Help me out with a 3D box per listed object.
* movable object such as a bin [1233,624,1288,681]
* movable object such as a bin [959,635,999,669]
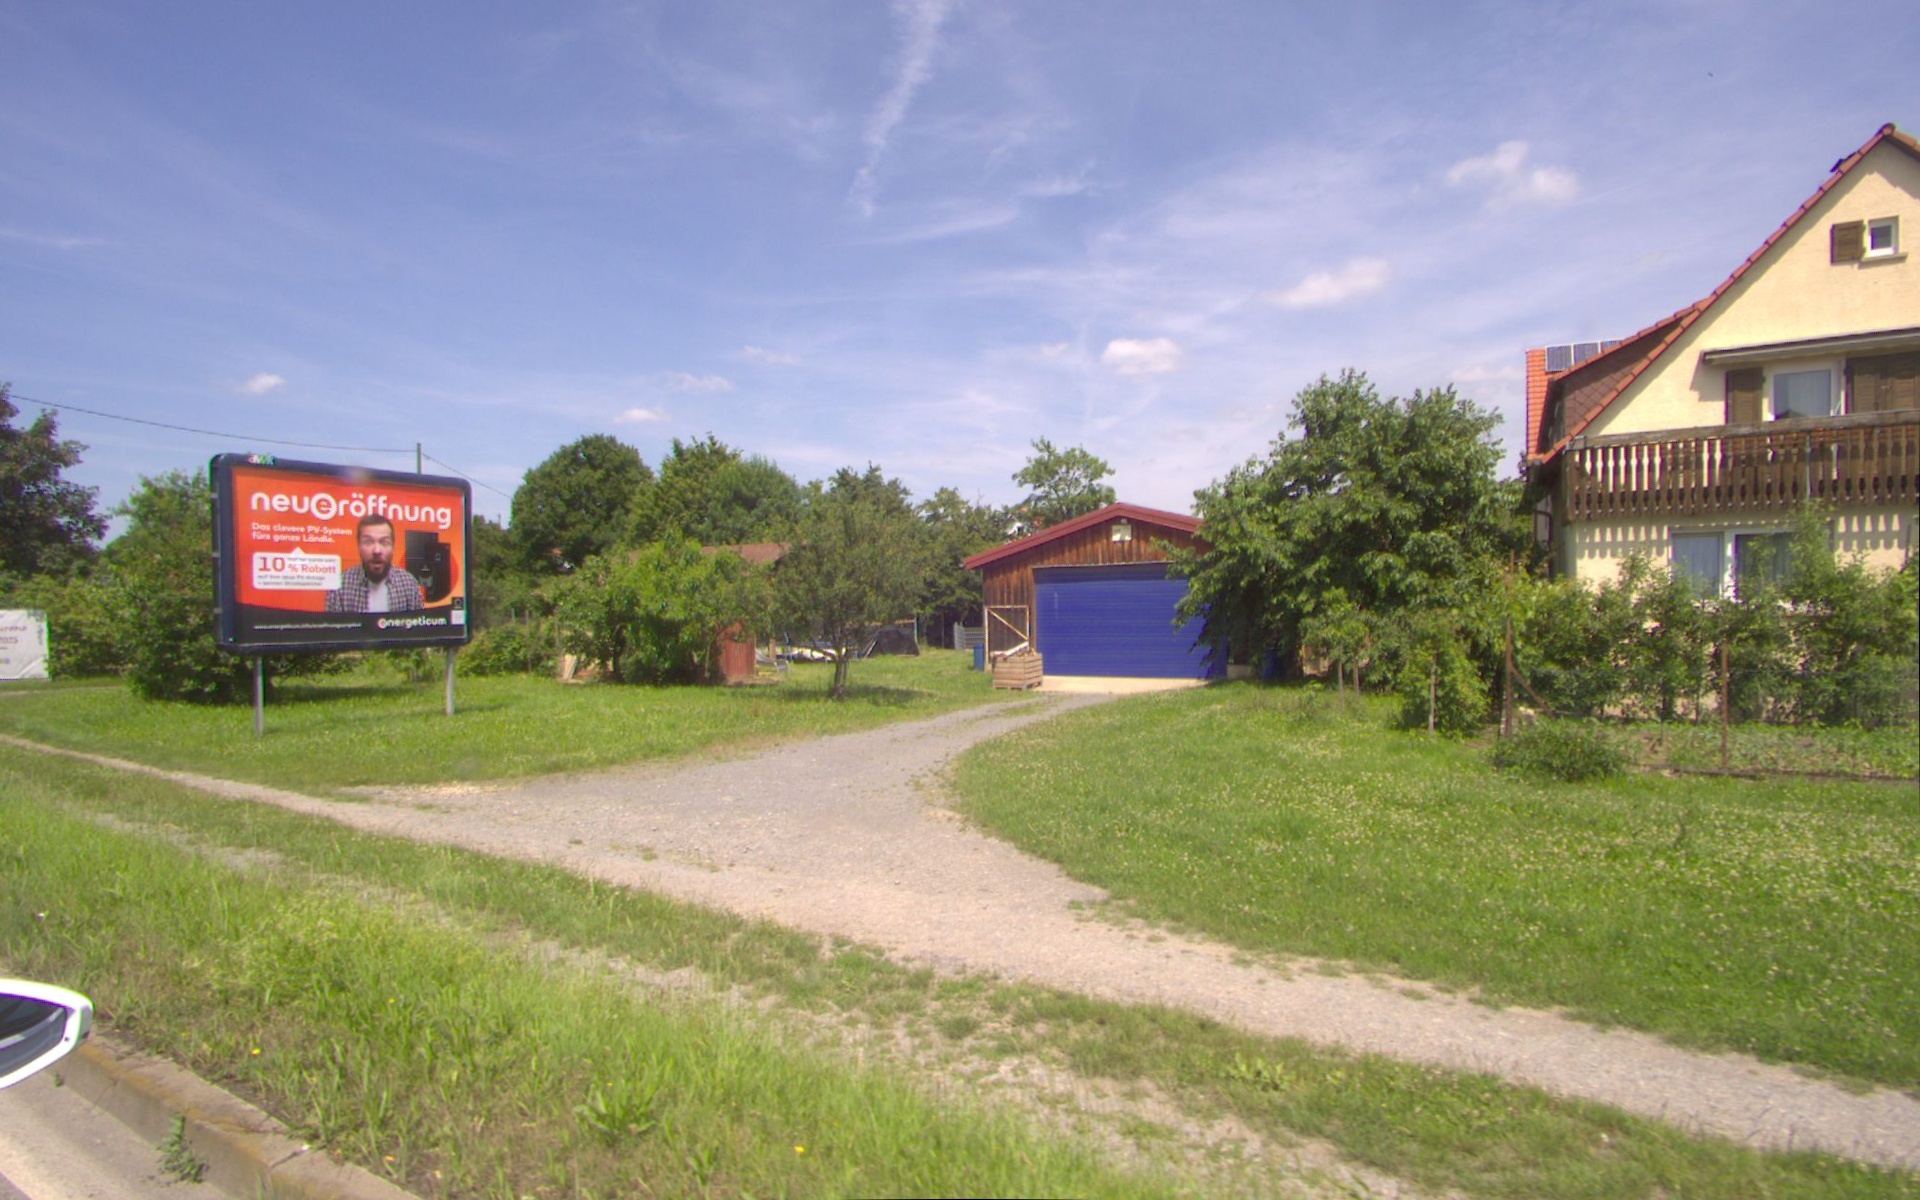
[{"bbox_3d":[7.785,1.331,25.892,1.049,1.415,1.271,0,-1,33],"label":"movable object such as a bin"},{"bbox_3d":[0.612,1.639,31.889,1.044,1.046,1.040,0,-1,17],"label":"movable object such as a bin"}]
